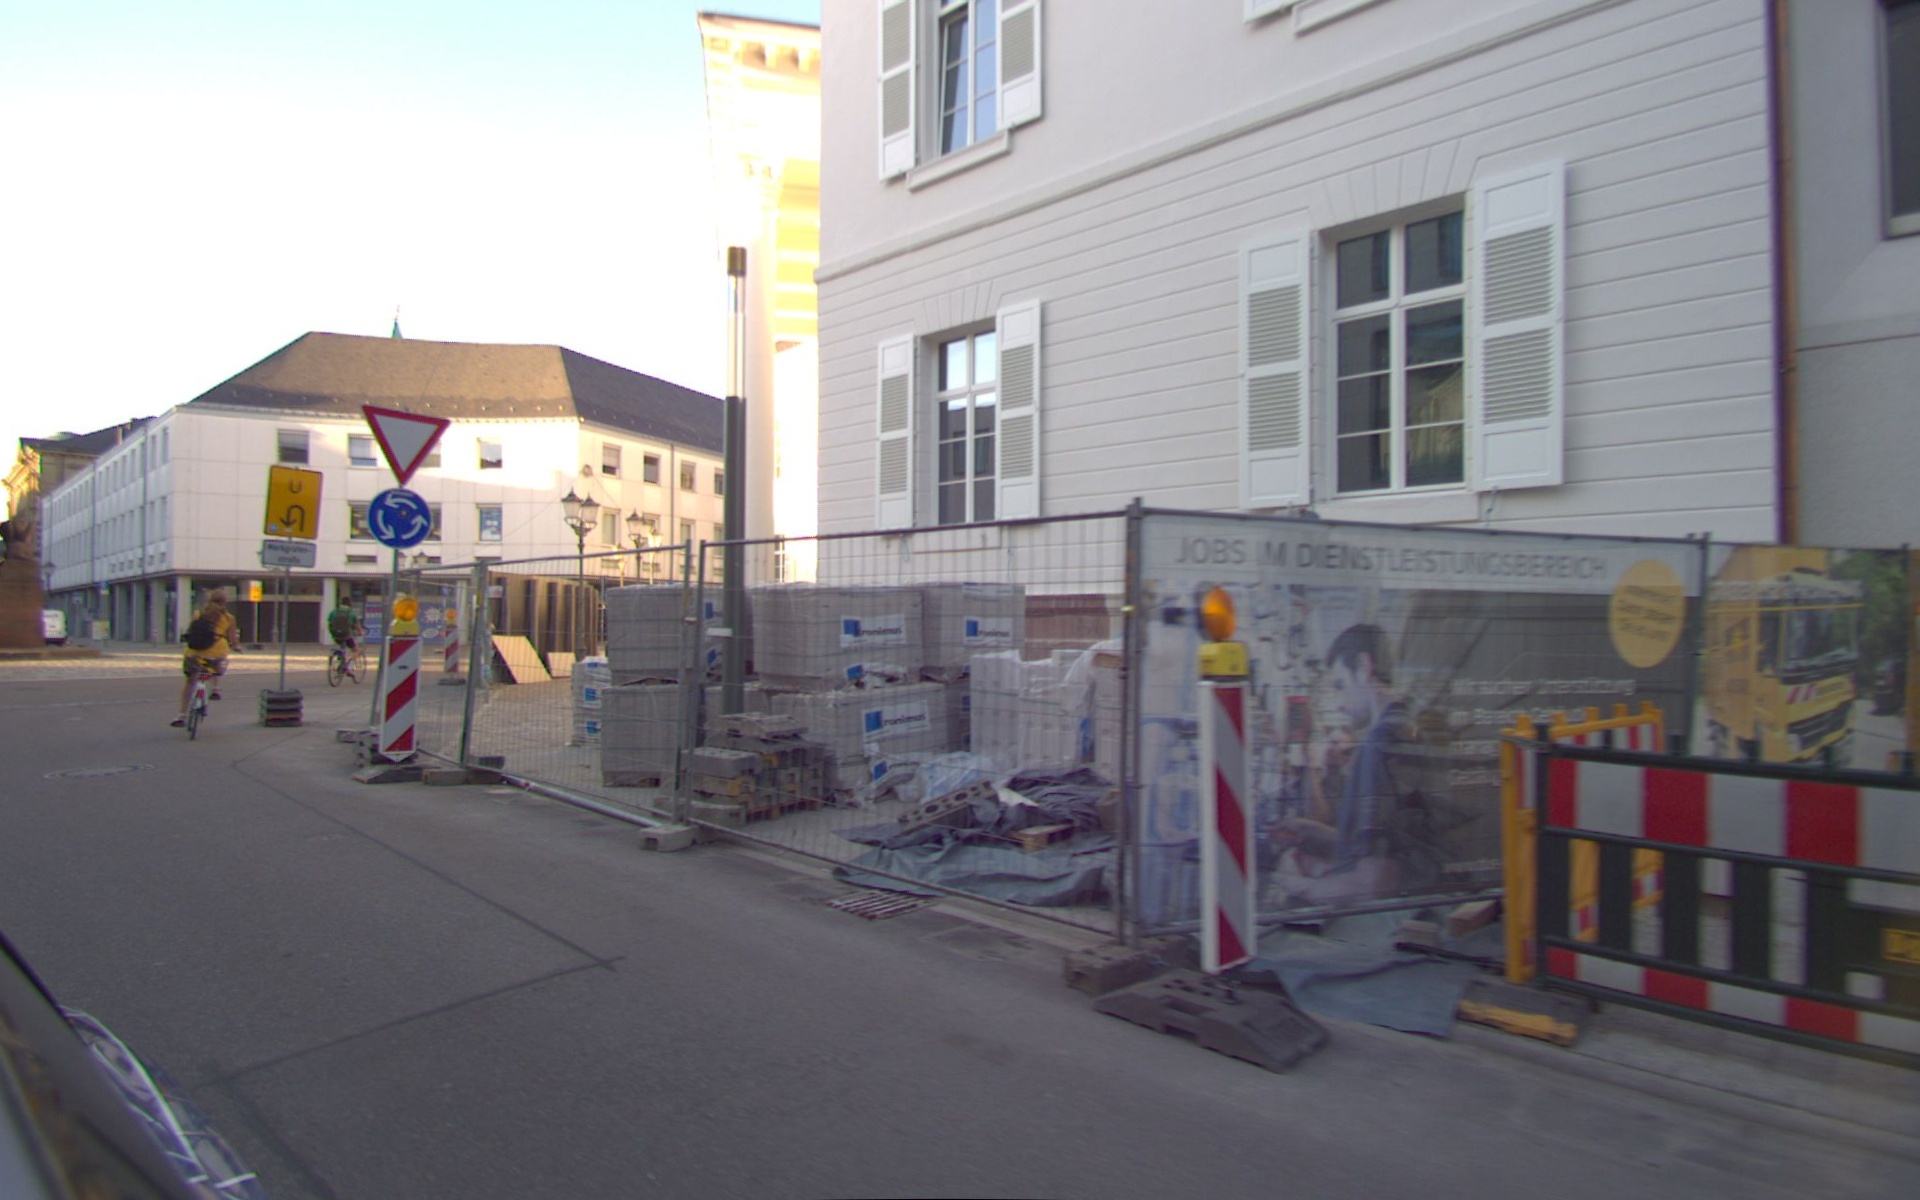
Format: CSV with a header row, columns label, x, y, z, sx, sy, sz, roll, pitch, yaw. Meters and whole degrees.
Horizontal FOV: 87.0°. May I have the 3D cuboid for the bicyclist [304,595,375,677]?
label,x,y,z,sx,sy,sz,roll,pitch,yaw
bicyclist,-12.658,0.731,20.681,0.786,1.615,1.233,0,-1,-8

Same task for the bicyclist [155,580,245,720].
label,x,y,z,sx,sy,sz,roll,pitch,yaw
bicyclist,-8.876,0.567,11.838,0.786,1.544,0.976,1,-2,-37

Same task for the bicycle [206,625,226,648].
label,x,y,z,sx,sy,sz,roll,pitch,yaw
bicycle,-39.690,1.931,53.972,1.949,1.164,0.474,-1,-2,42

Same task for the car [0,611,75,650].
label,x,y,z,sx,sy,sz,roll,pitch,yaw
car,-45.832,1.500,50.157,4.451,1.839,1.997,-1,-2,36

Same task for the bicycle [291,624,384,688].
label,x,y,z,sx,sy,sz,roll,pitch,yaw
bicycle,-12.663,1.110,20.676,0.786,1.226,2.237,0,-1,-8

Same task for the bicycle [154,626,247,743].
label,x,y,z,sx,sy,sz,roll,pitch,yaw
bicycle,-8.886,0.927,11.861,0.786,1.226,2.238,1,-2,-37
